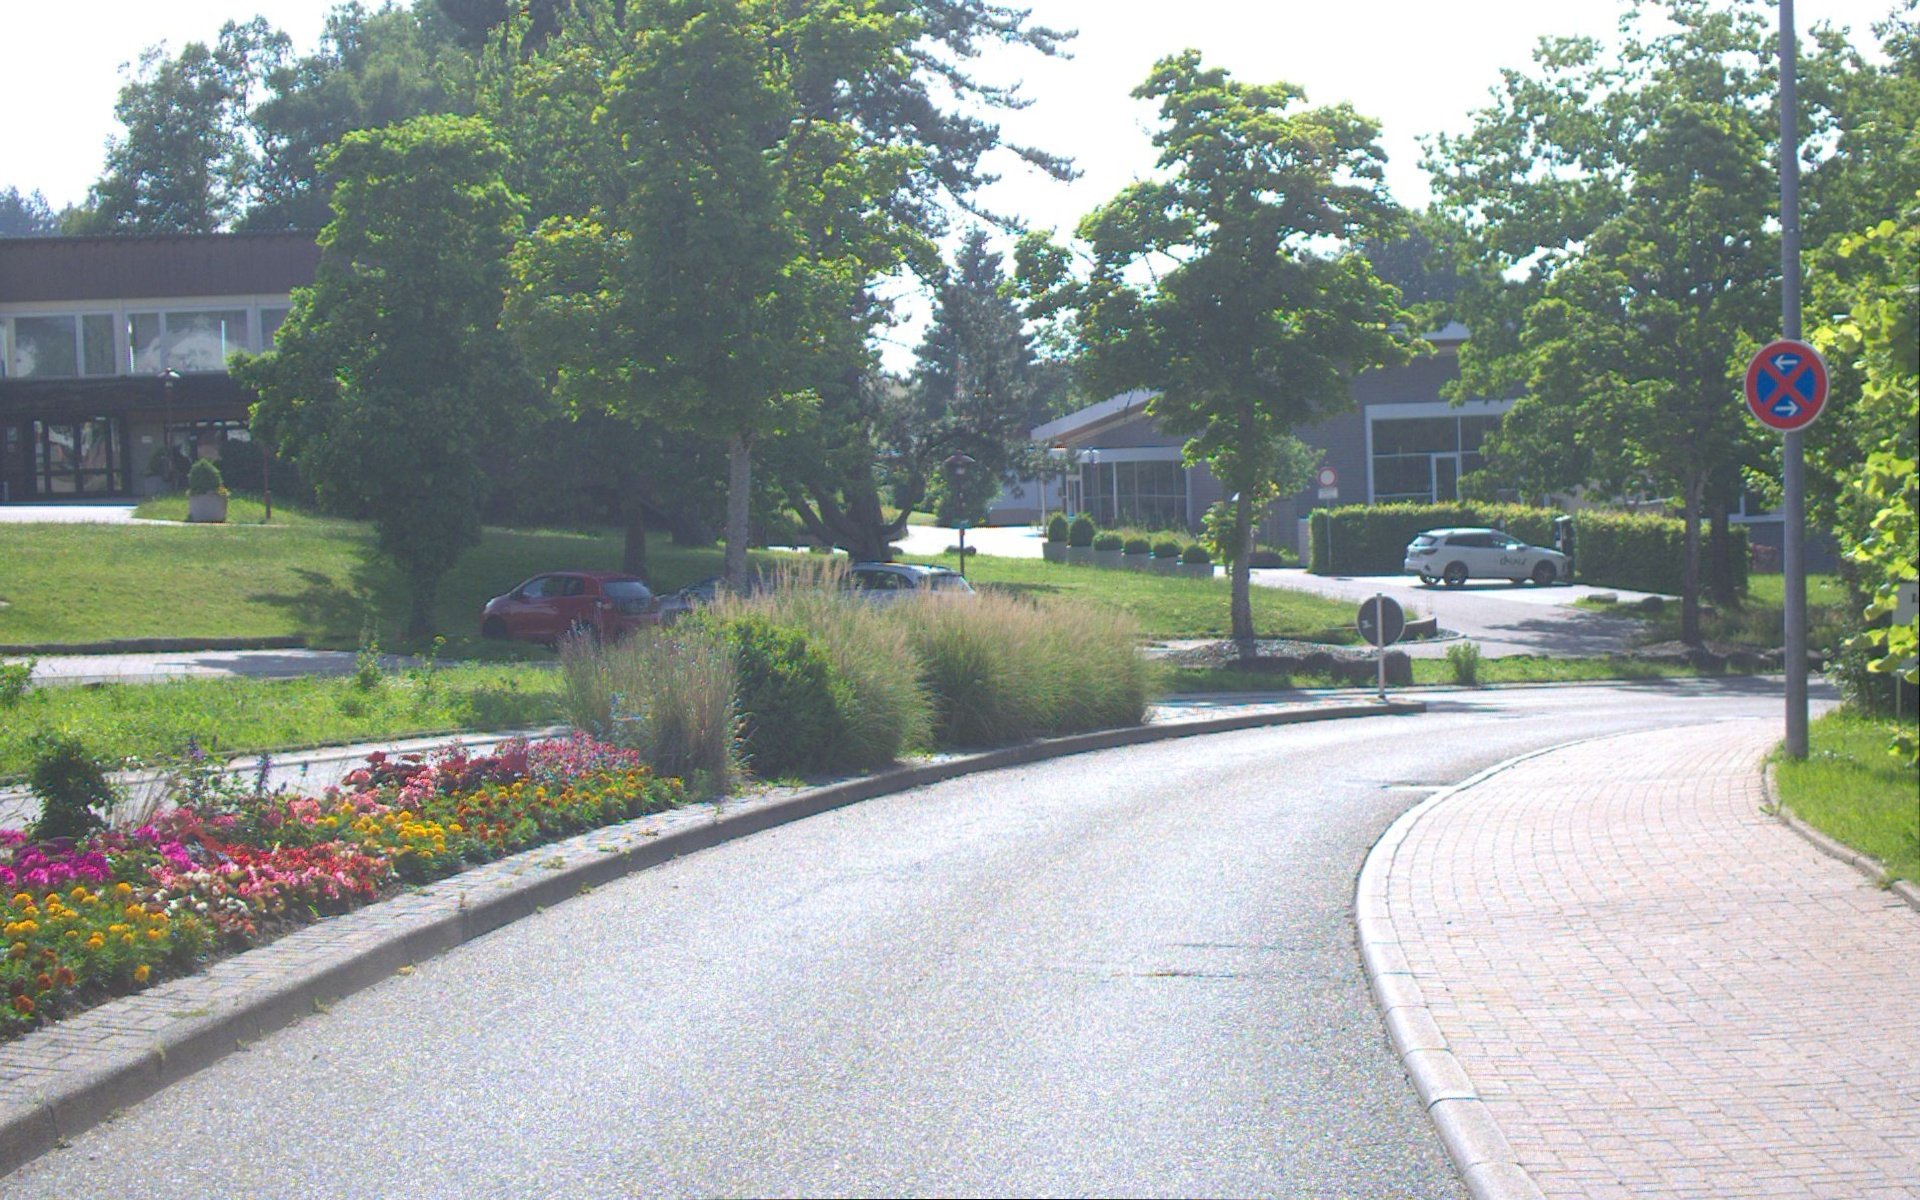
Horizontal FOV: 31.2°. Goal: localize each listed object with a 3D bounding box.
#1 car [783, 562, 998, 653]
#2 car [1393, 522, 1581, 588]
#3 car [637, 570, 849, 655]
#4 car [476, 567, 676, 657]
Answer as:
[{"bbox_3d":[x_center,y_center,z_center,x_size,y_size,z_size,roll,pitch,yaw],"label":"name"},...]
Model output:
[{"bbox_3d":[-1.364,0.128,66.448,3.938,1.604,1.772,3,1,41],"label":"car"},{"bbox_3d":[14.580,-1.261,95.217,4.713,1.528,2.001,-2,6,-15],"label":"car"},{"bbox_3d":[-4.026,0.217,63.449,3.711,1.428,1.772,3,1,42],"label":"car"},{"bbox_3d":[-6.837,0.195,61.128,3.205,1.465,1.772,3,1,40],"label":"car"}]
